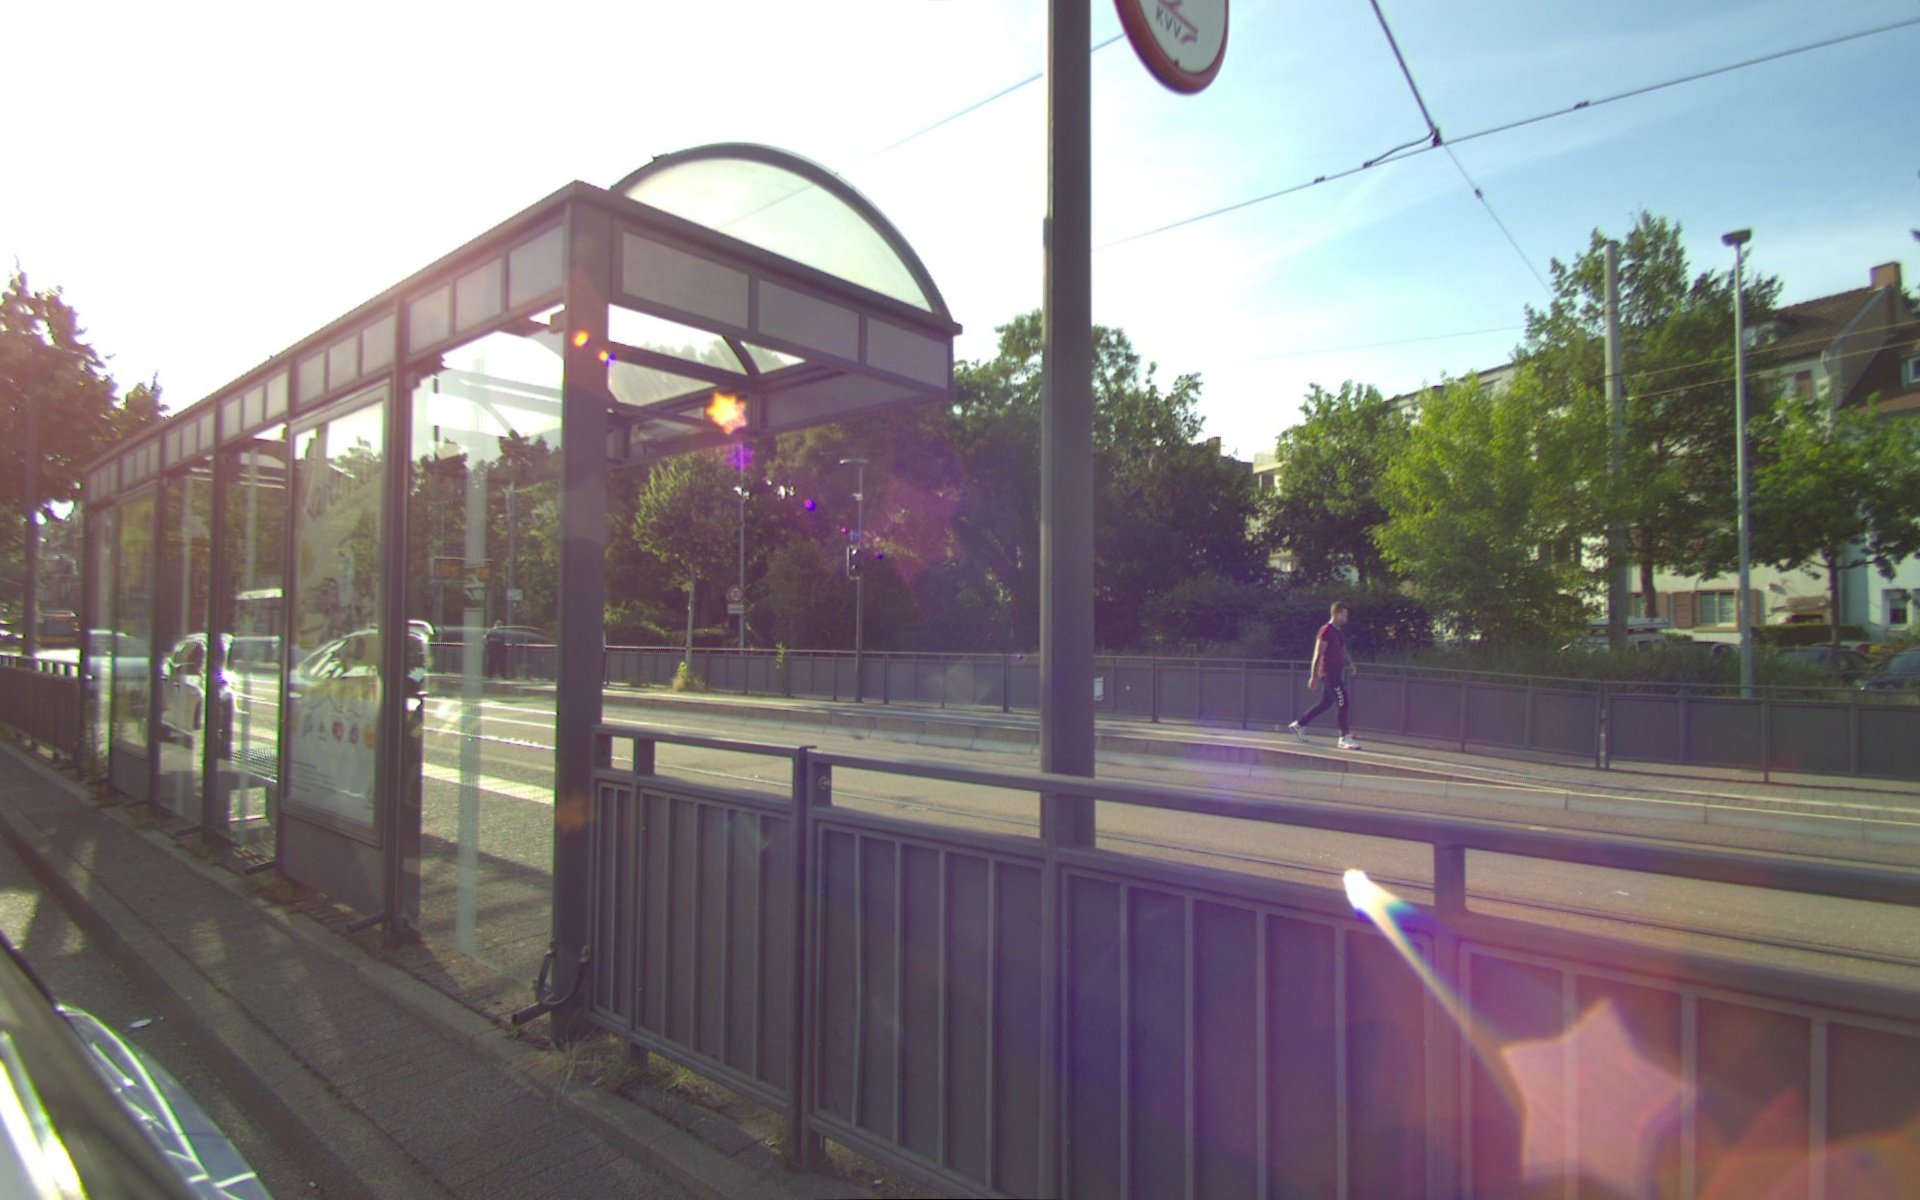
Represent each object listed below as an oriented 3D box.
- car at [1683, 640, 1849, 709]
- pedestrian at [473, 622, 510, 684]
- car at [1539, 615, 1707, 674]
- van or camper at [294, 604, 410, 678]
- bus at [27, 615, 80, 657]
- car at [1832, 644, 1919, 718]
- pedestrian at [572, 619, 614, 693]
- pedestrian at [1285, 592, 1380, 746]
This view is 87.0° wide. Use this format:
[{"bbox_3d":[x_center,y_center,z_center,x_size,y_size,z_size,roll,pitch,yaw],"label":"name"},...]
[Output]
[{"bbox_3d":[18.192,1.630,22.805,3.935,1.409,2.004,2,-3,-37],"label":"car"},{"bbox_3d":[-13.006,1.476,28.105,0.618,1.697,0.613,-2,-6,41],"label":"pedestrian"},{"bbox_3d":[17.927,1.206,27.382,3.930,1.497,1.854,1,-3,-22],"label":"car"},{"bbox_3d":[-26.456,1.694,43.910,6.408,2.990,2.494,-1,0,41],"label":"van or camper"},{"bbox_3d":[-78.964,3.035,88.118,9.258,3.461,2.405,-1,0,41],"label":"bus"},{"bbox_3d":[19.615,1.604,20.618,3.935,1.409,2.004,2,-3,-37],"label":"car"},{"bbox_3d":[-8.639,1.315,23.837,0.618,1.697,0.613,-2,-6,41],"label":"pedestrian"},{"bbox_3d":[4.282,0.787,11.640,0.877,1.697,0.547,-2,-6,41],"label":"pedestrian"}]
